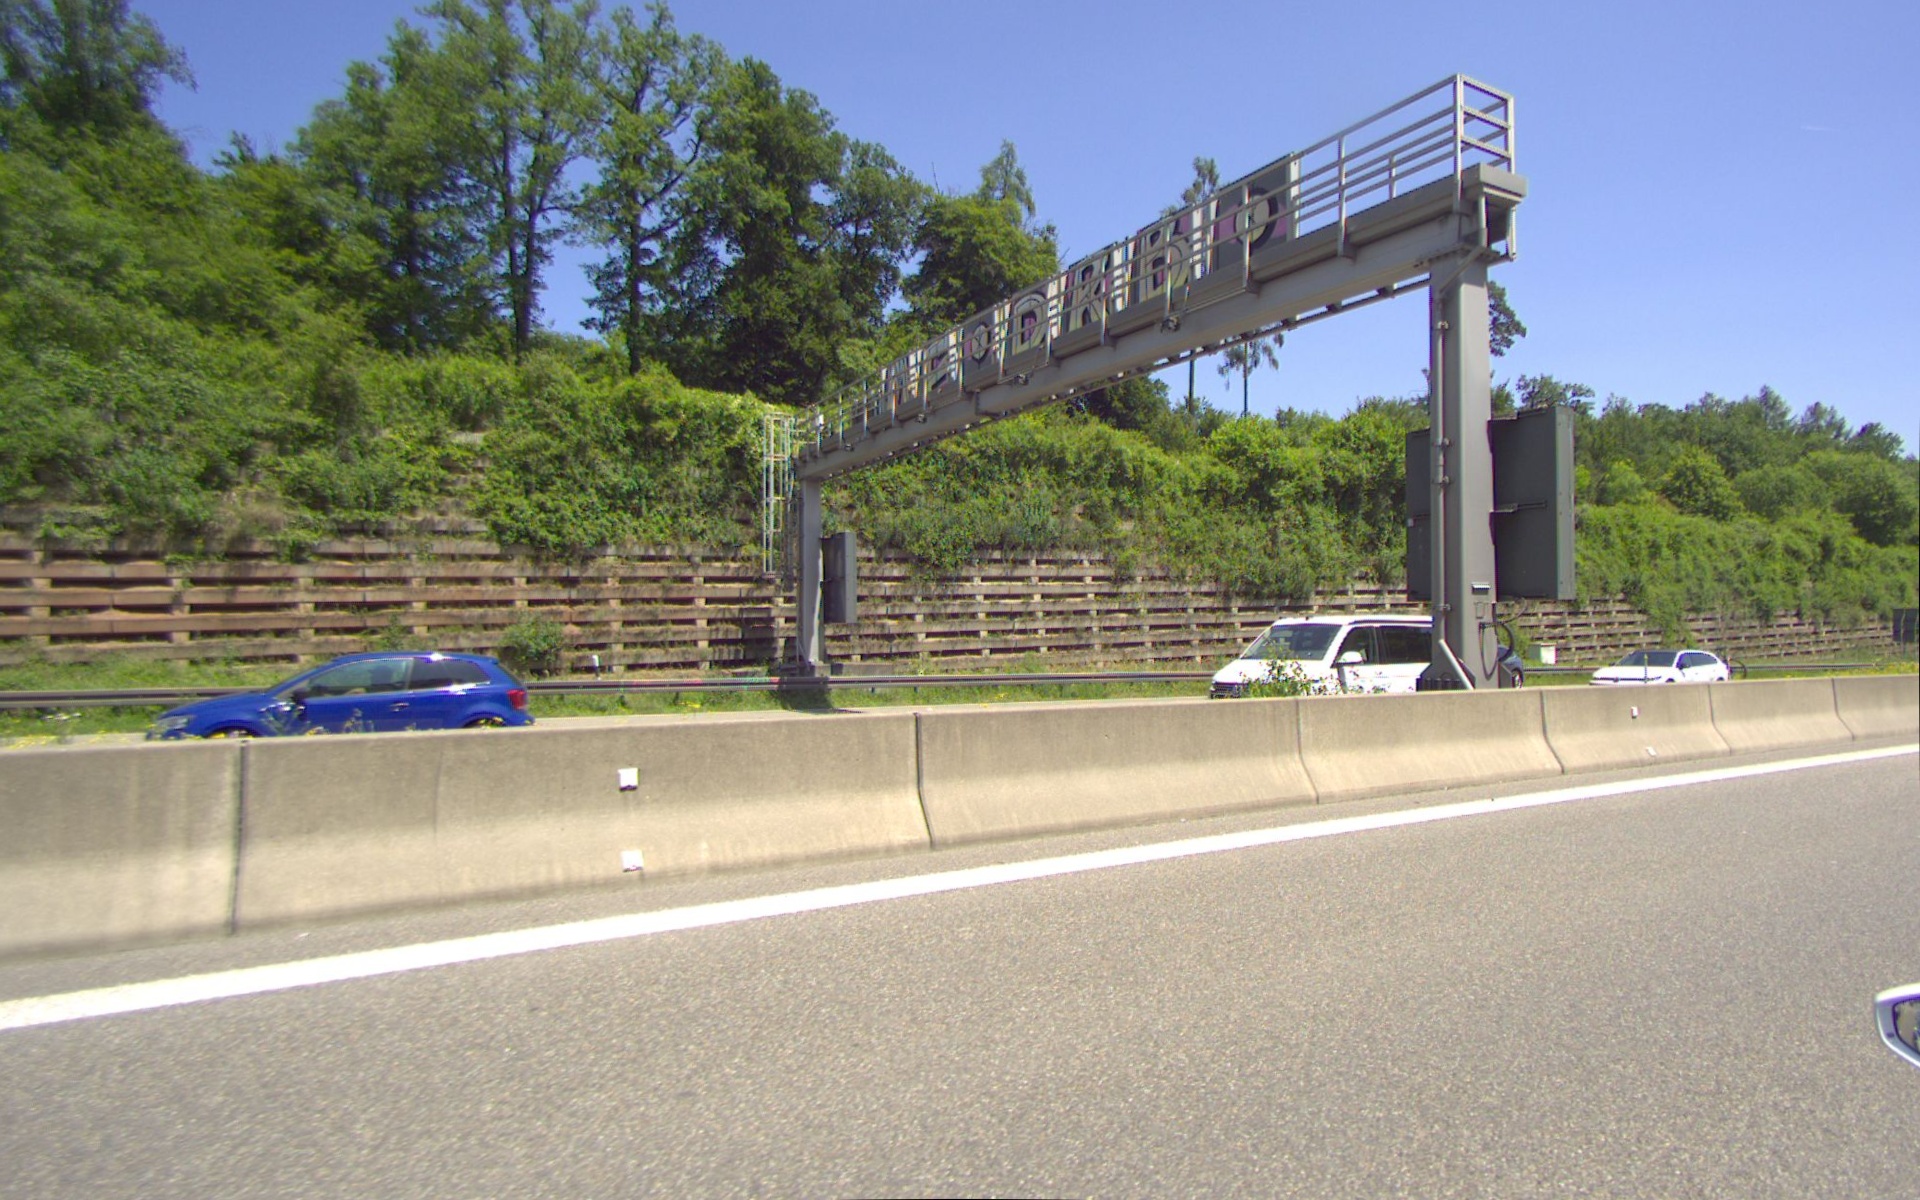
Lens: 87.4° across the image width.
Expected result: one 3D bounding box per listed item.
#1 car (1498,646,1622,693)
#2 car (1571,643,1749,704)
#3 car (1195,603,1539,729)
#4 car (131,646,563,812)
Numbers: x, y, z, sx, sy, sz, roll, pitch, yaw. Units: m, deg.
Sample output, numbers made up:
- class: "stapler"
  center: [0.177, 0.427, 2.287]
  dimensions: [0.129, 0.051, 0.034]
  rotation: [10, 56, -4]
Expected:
- class: "car"
  center: [21.444, 2.450, 35.872]
  dimensions: [4.423, 1.515, 1.890]
  rotation: [1, -2, -30]
- class: "car"
  center: [19.807, 1.995, 28.337]
  dimensions: [5.820, 1.515, 1.951]
  rotation: [1, -2, -32]
- class: "car"
  center: [6.630, 0.963, 16.062]
  dimensions: [5.928, 1.709, 1.987]
  rotation: [1, -2, -32]
- class: "car"
  center: [-7.104, 1.400, 12.069]
  dimensions: [4.150, 1.626, 1.699]
  rotation: [1, -2, -31]
